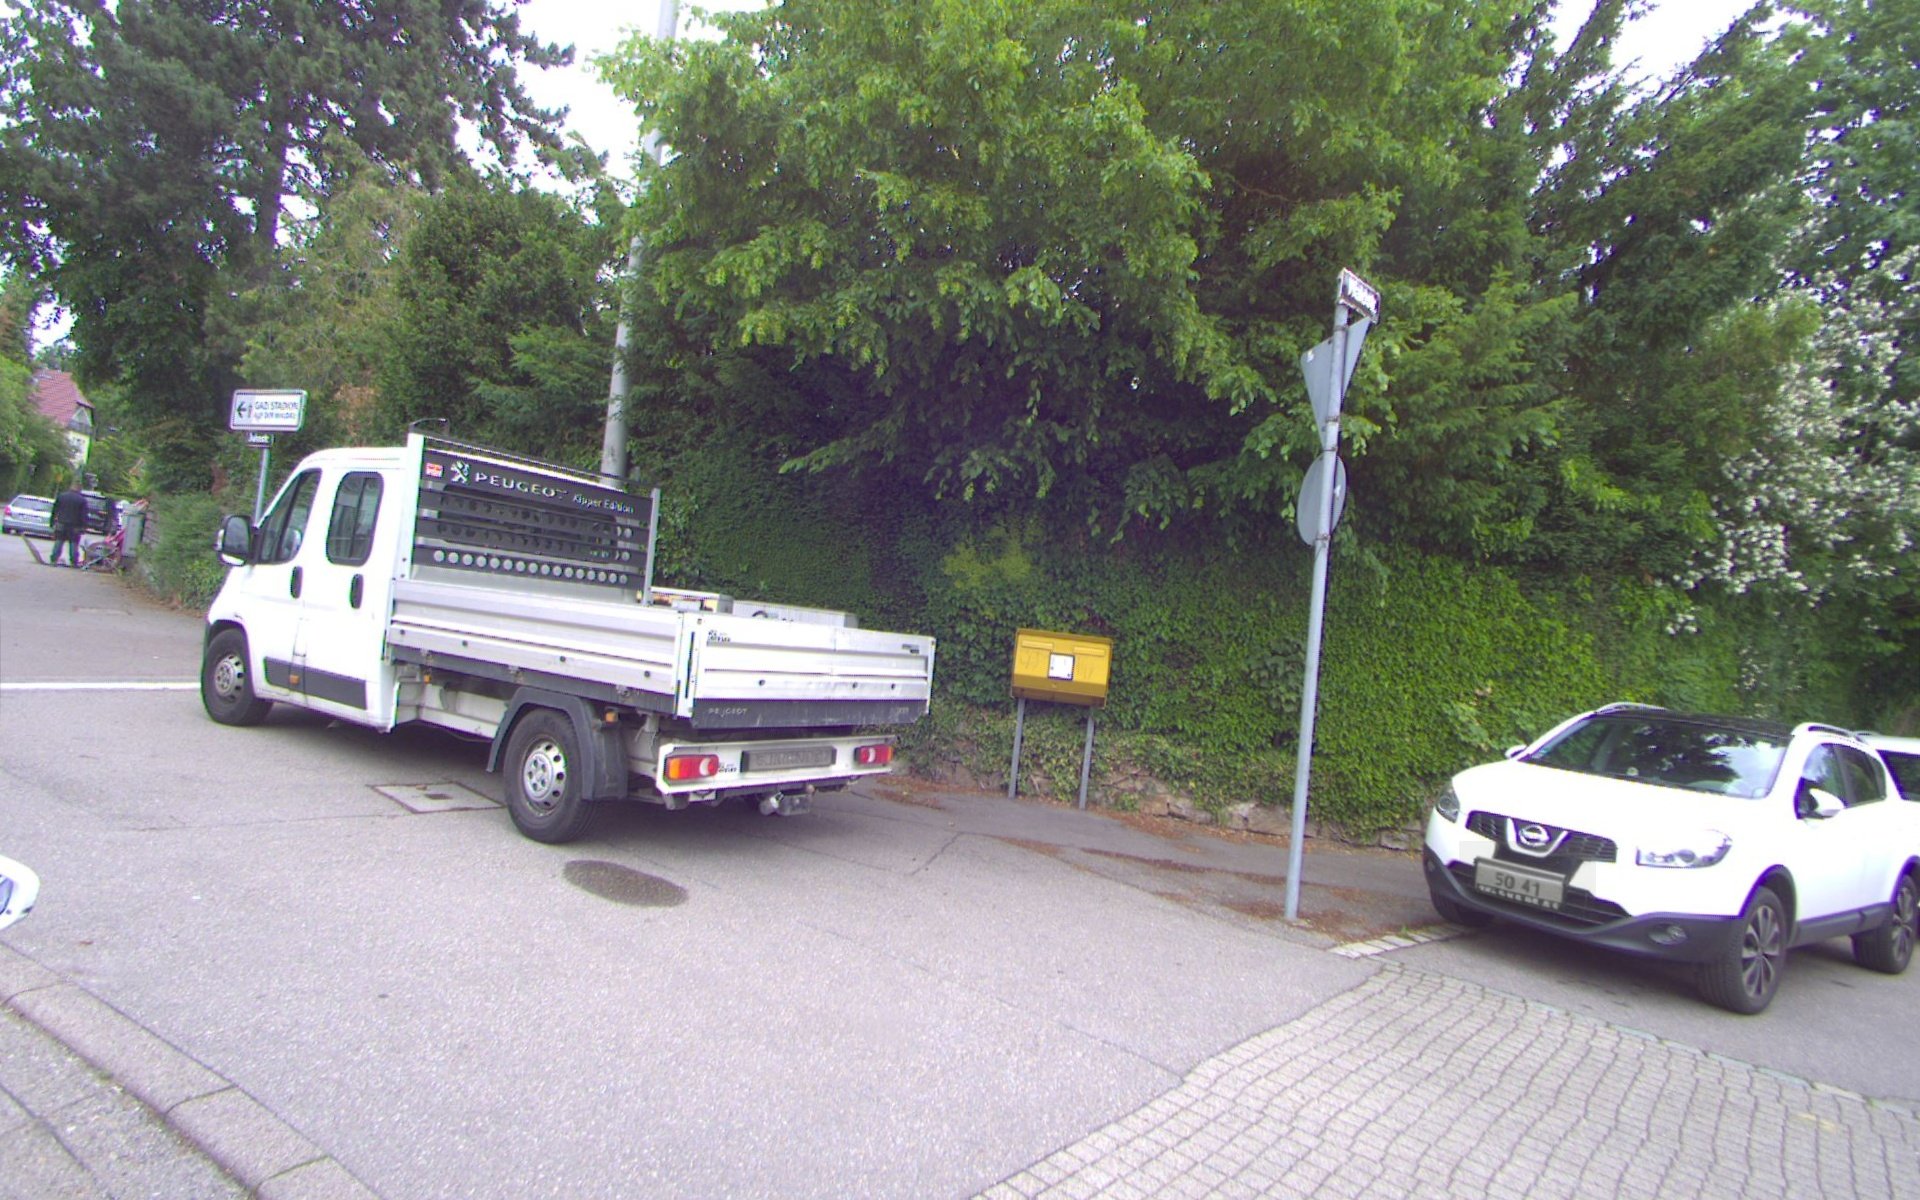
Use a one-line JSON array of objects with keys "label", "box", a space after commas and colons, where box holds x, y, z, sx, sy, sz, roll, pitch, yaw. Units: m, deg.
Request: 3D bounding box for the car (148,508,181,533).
[{"label": "car", "box": [-72.809, -7.246, 92.116, 1.930, 1.846, 4.039, 10, -2, -35]}]

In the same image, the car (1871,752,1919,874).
[{"label": "car", "box": [13.842, 2.943, 13.444, 4.040, 1.440, 1.781, 8, -2, -38]}]

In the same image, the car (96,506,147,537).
[{"label": "car", "box": [-51.653, -4.807, 62.033, 1.832, 1.476, 4.040, 10, -2, -34]}]

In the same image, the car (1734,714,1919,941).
[{"label": "car", "box": [9.043, 2.122, 9.468, 4.041, 1.641, 1.781, 9, -3, -38]}]

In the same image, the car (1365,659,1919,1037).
[{"label": "car", "box": [4.764, 1.477, 6.656, 4.098, 1.641, 1.783, 9, -2, -34]}]

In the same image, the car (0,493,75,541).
[{"label": "car", "box": [-33.931, -3.039, 37.017, 1.685, 1.448, 3.710, 7, 0, -38]}]

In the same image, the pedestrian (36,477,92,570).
[{"label": "pedestrian", "box": [-19.655, -1.681, 22.070, 0.549, 1.929, 0.597, 7, -1, 32]}]

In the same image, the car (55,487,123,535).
[{"label": "car", "box": [-42.773, -4.332, 49.480, 1.910, 1.915, 4.859, 10, -2, -36]}]

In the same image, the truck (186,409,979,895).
[{"label": "truck", "box": [-2.936, 0.092, 7.161, 5.631, 2.270, 2.211, 6, -2, 34]}]
